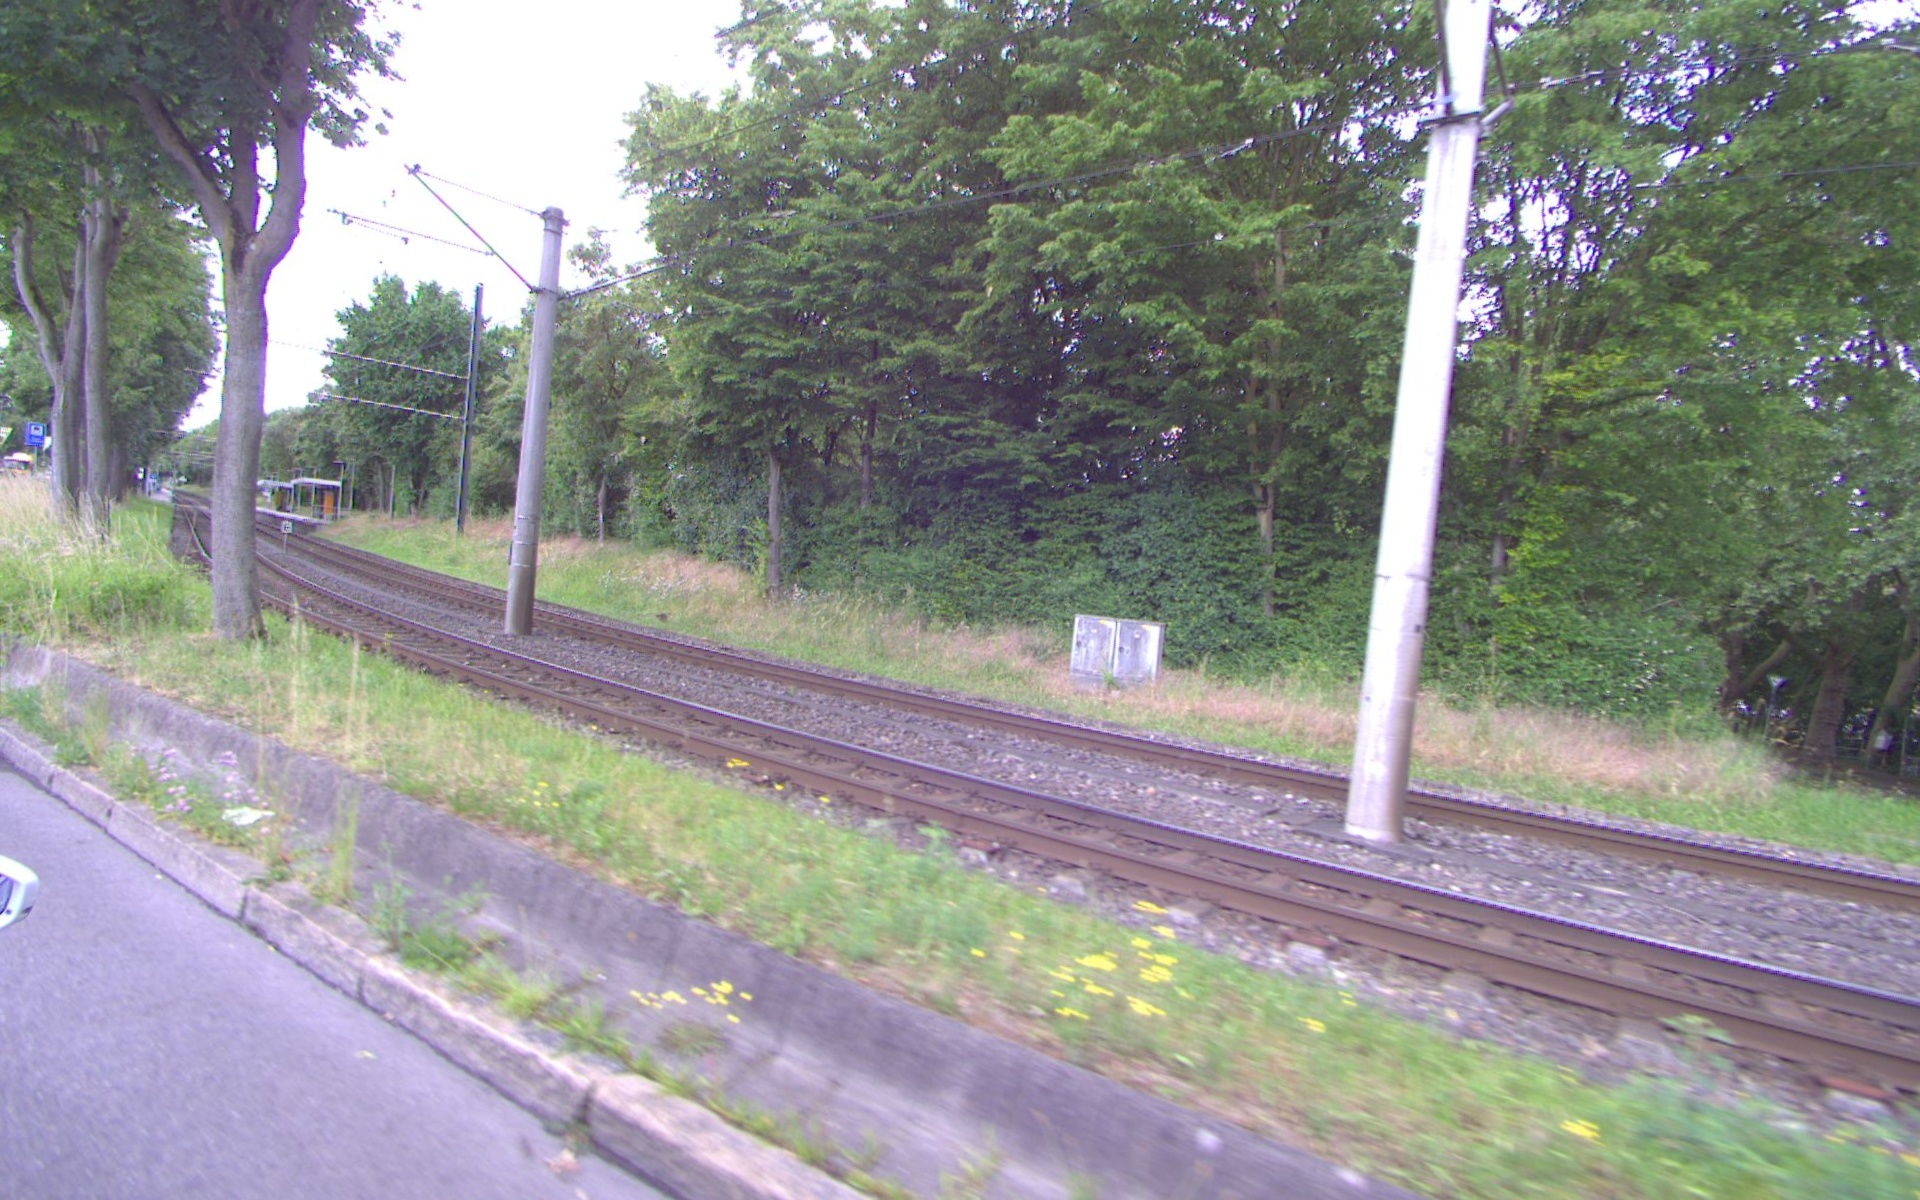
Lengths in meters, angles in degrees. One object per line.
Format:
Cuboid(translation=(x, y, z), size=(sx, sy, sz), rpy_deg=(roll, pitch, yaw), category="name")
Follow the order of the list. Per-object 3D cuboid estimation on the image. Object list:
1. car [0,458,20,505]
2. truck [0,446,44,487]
Cuboid(translation=(-45.007, -5.572, 46.483), size=(1.882, 2.039, 3.956), rpy_deg=(6, 1, -39), category="car")
Cuboid(translation=(-109.859, -15.562, 117.917), size=(2.642, 3.987, 10.003), rpy_deg=(7, 0, -38), category="truck")
